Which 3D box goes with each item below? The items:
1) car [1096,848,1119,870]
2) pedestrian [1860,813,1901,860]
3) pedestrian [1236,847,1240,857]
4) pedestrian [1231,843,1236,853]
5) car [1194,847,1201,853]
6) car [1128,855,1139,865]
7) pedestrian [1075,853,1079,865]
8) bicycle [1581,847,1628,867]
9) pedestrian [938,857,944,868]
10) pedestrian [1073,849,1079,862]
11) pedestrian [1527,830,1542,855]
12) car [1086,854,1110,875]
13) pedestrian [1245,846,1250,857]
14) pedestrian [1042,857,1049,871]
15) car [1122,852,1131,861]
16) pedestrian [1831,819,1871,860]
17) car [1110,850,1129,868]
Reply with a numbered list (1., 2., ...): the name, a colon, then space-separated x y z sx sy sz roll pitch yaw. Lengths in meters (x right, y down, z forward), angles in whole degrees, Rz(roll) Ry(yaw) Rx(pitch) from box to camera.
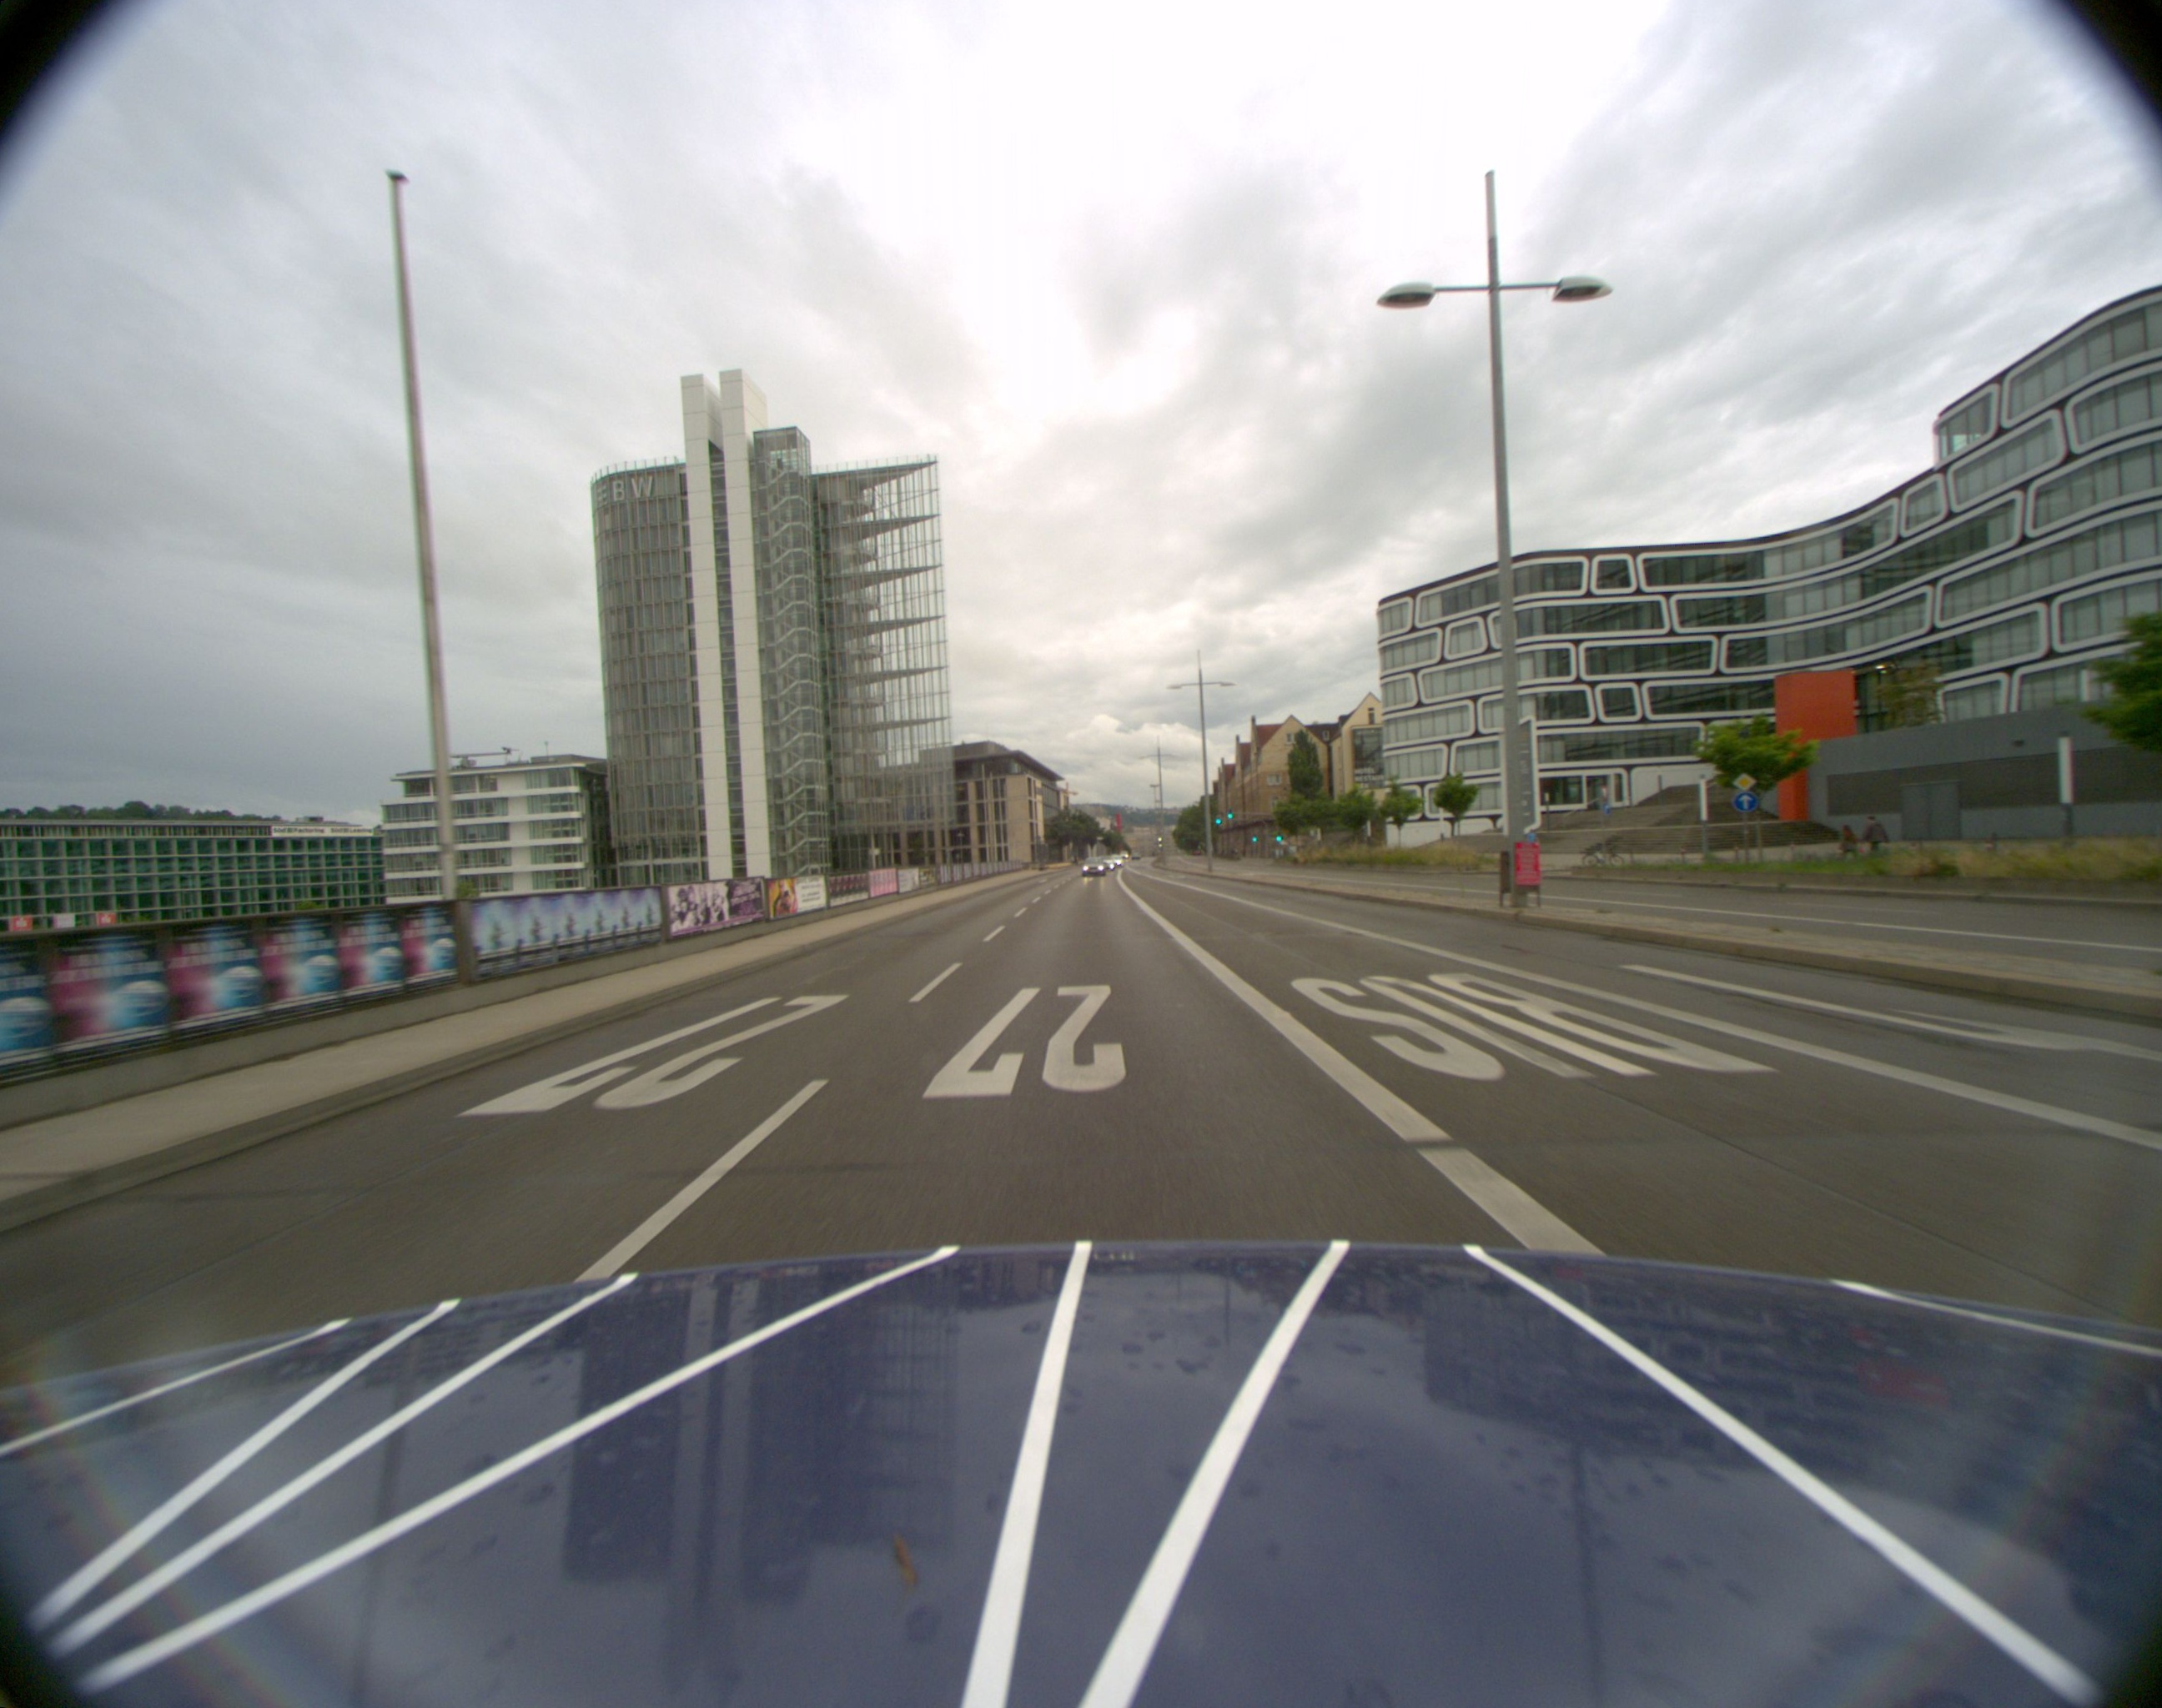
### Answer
1. car: 2.532 0.432 74.293 1.999 2.002 3.999 -2 1 -1
2. pedestrian: 28.754 -0.617 27.331 0.619 1.648 0.798 -2 2 1
3. pedestrian: 27.432 -0.339 132.915 0.677 1.769 0.684 -2 2 6
4. pedestrian: 29.528 -1.139 147.058 0.677 1.769 0.684 -2 2 6
5. car: 32.950 -1.093 214.133 1.714 1.455 4.002 -3 0 6
6. car: 11.728 1.256 168.587 1.999 2.002 3.999 -2 1 -1
7. pedestrian: -0.531 0.702 105.770 0.461 1.590 0.656 -2 2 -3
8. bicycle: 24.421 0.141 35.465 0.610 0.852 1.653 -3 2 -33
9. pedestrian: -22.921 1.404 124.366 0.634 1.735 0.635 -1 2 26
10. pedestrian: -0.758 0.191 107.169 0.728 1.761 0.783 -2 2 2
11. pedestrian: 30.541 -0.780 51.221 0.612 1.602 0.639 -3 2 3
12. car: 1.268 0.789 57.391 1.684 1.379 3.475 -2 1 0
13. pedestrian: 27.946 -0.422 127.586 0.677 1.769 0.684 -2 2 6
14. pedestrian: -4.240 1.221 89.898 0.660 1.601 0.547 -3 0 6
15. car: 11.225 0.701 187.738 1.999 2.002 3.999 -2 1 -1
16. pedestrian: 27.665 -0.510 27.319 0.619 1.438 0.798 -2 2 1
17. car: 4.737 0.577 92.425 1.970 1.816 3.928 -3 2 6
